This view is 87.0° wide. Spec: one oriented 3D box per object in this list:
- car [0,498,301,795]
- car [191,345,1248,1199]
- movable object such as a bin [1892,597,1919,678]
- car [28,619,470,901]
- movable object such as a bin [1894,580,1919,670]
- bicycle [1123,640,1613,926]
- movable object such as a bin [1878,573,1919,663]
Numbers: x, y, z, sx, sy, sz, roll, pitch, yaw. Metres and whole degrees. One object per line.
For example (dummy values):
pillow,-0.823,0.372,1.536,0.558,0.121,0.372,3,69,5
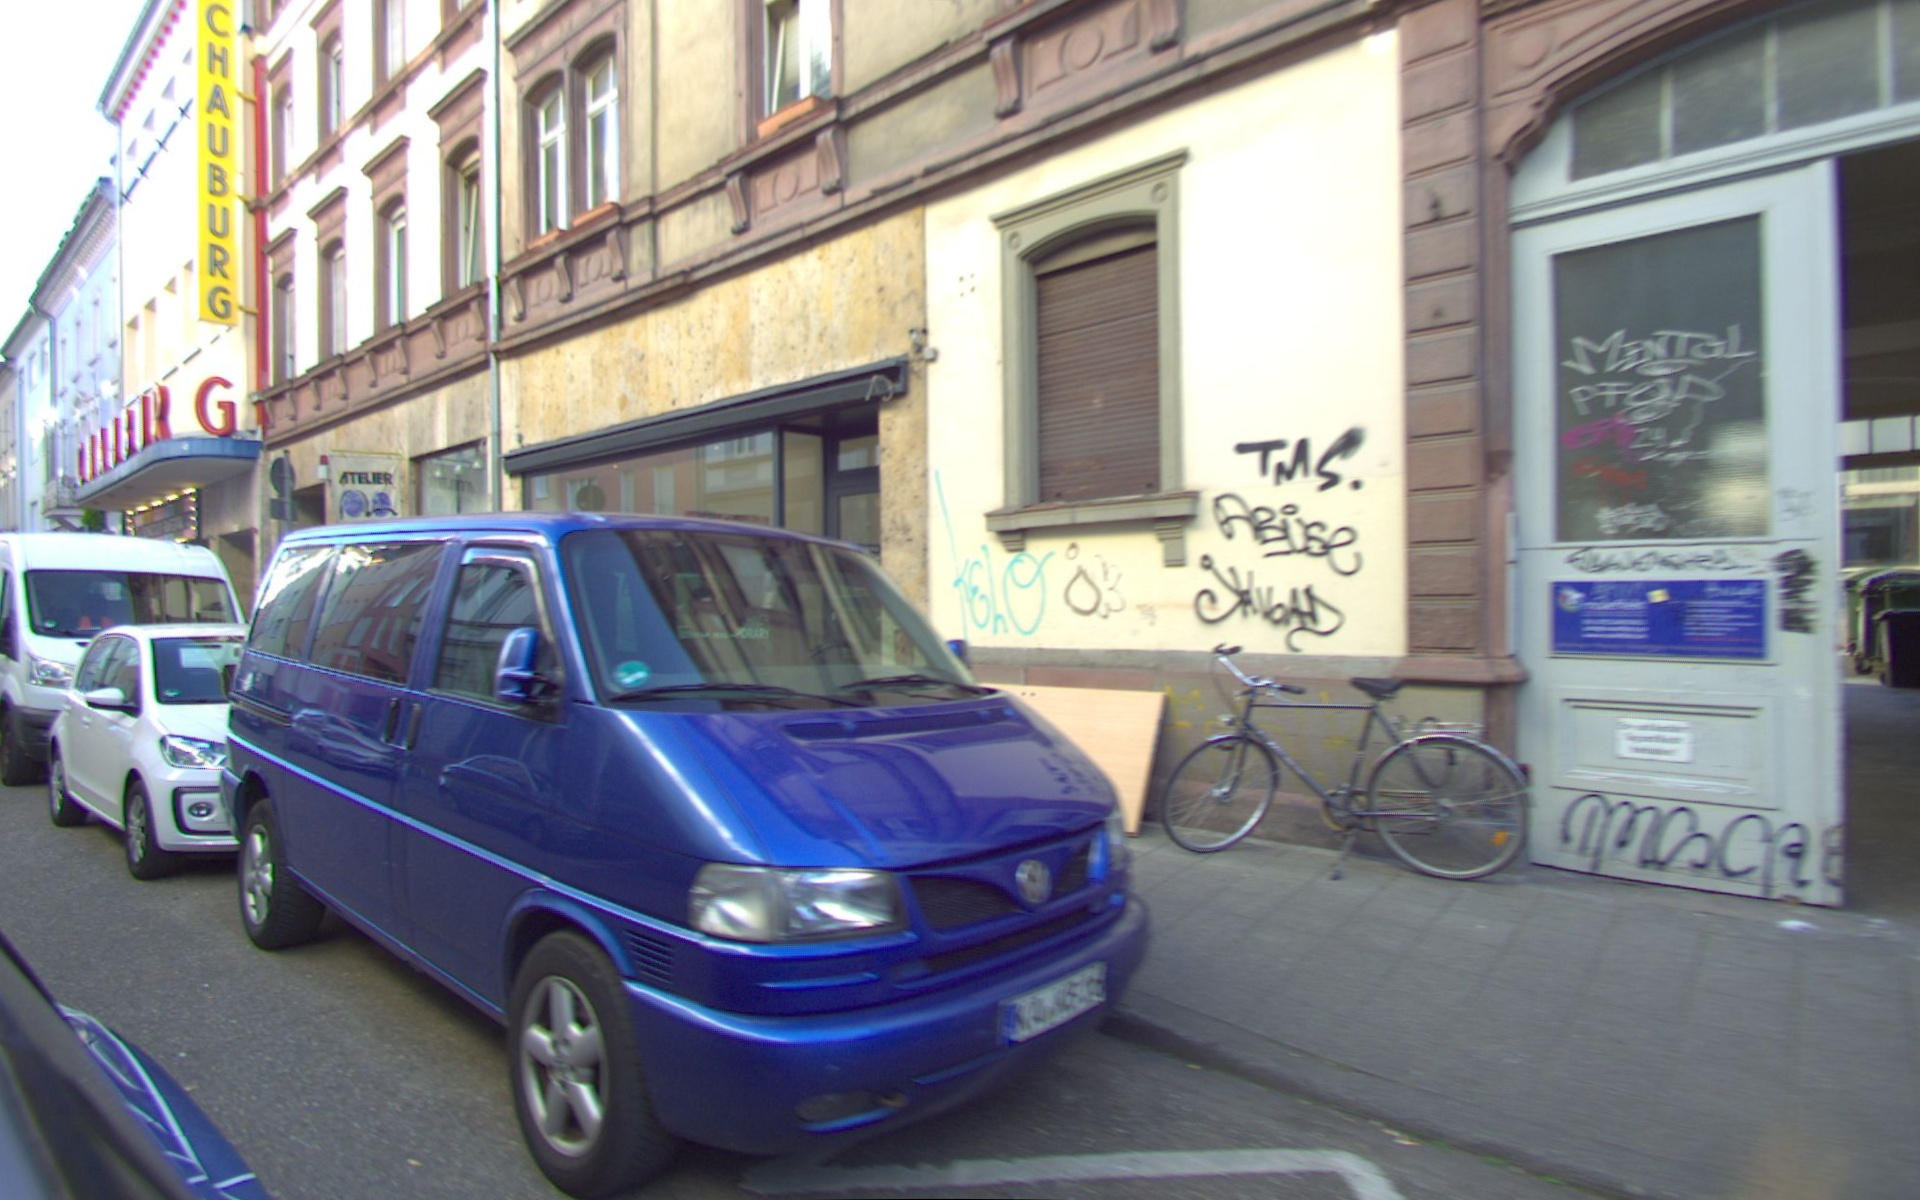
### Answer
car,-9.520,0.461,11.161,5.917,2.471,2.146,-1,-2,40
car,-1.390,0.550,4.086,4.612,1.906,1.808,-1,-3,42
movable object such as a bin,11.303,0.426,11.743,0.668,0.902,0.708,-2,0,41
car,-5.160,0.882,7.162,3.836,1.458,1.629,-1,-1,40
movable object such as a bin,12.122,0.296,12.609,0.668,1.096,0.708,-2,0,41
bicycle,1.874,0.749,4.887,2.029,1.028,0.747,-2,3,43
movable object such as a bin,12.762,0.231,13.530,0.668,1.165,0.708,-2,0,41
